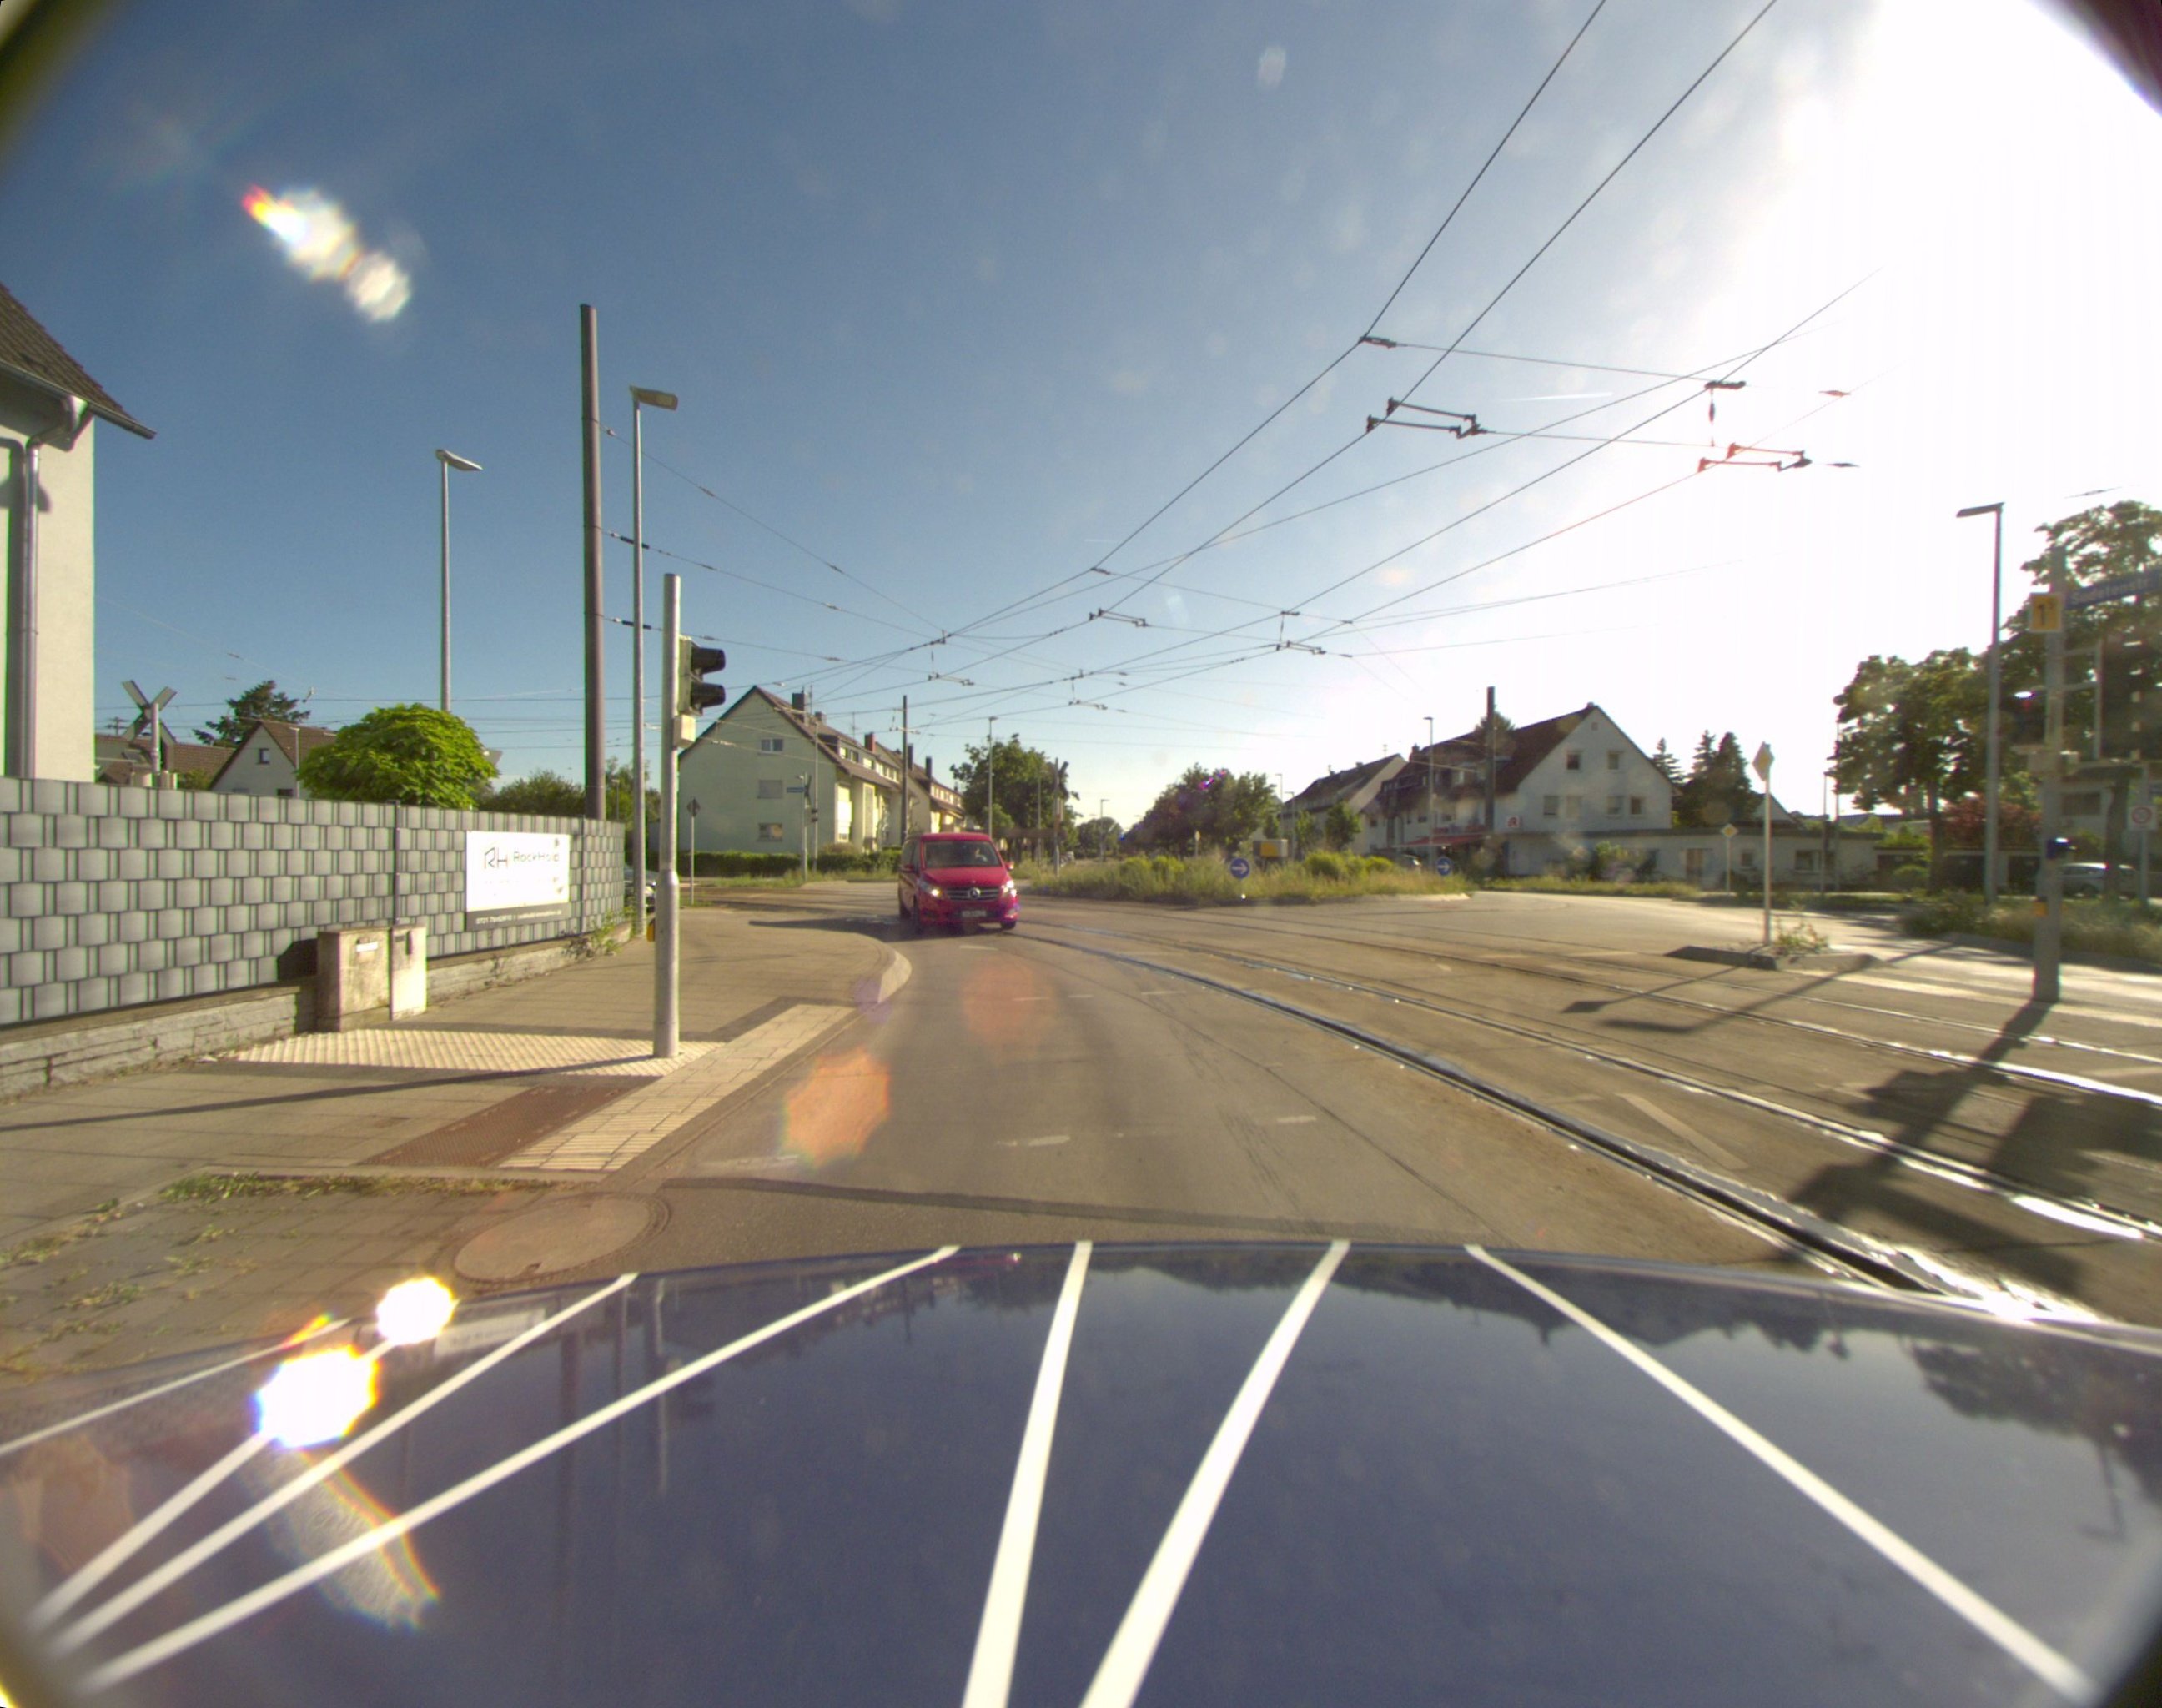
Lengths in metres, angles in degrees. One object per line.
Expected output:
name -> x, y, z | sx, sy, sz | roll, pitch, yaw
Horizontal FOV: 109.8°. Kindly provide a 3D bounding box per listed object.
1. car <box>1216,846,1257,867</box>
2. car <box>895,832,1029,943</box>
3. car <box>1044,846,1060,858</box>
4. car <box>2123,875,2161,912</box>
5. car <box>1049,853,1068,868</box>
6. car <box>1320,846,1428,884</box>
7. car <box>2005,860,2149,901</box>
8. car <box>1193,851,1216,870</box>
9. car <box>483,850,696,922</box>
car -> 12.932, 0.204, 63.242 | 3.069, 1.611, 1.413 | 2, 3, 30
car -> -2.740, 0.569, 16.272 | 2.002, 1.970, 5.229 | -1, 1, -18
car -> -3.657, -0.255, 96.241 | 1.825, 1.384, 3.869 | 1, 0, 1
car -> 43.999, 1.568, 29.728 | 3.996, 1.357, 1.600 | 1, 2, 3
car -> -2.368, 0.701, 79.888 | 1.825, 1.385, 3.789 | 1, 2, 1
car -> 13.725, 0.446, 35.664 | 4.427, 1.572, 1.840 | 2, 3, 32
car -> 48.594, 1.245, 37.223 | 1.997, 1.685, 4.053 | 1, 2, 9
car -> 13.969, 0.704, 86.168 | 1.895, 2.003, 4.369 | 1, 2, -1
car -> -11.693, 0.709, 18.214 | 3.995, 1.570, 1.832 | 1, 1, 5
